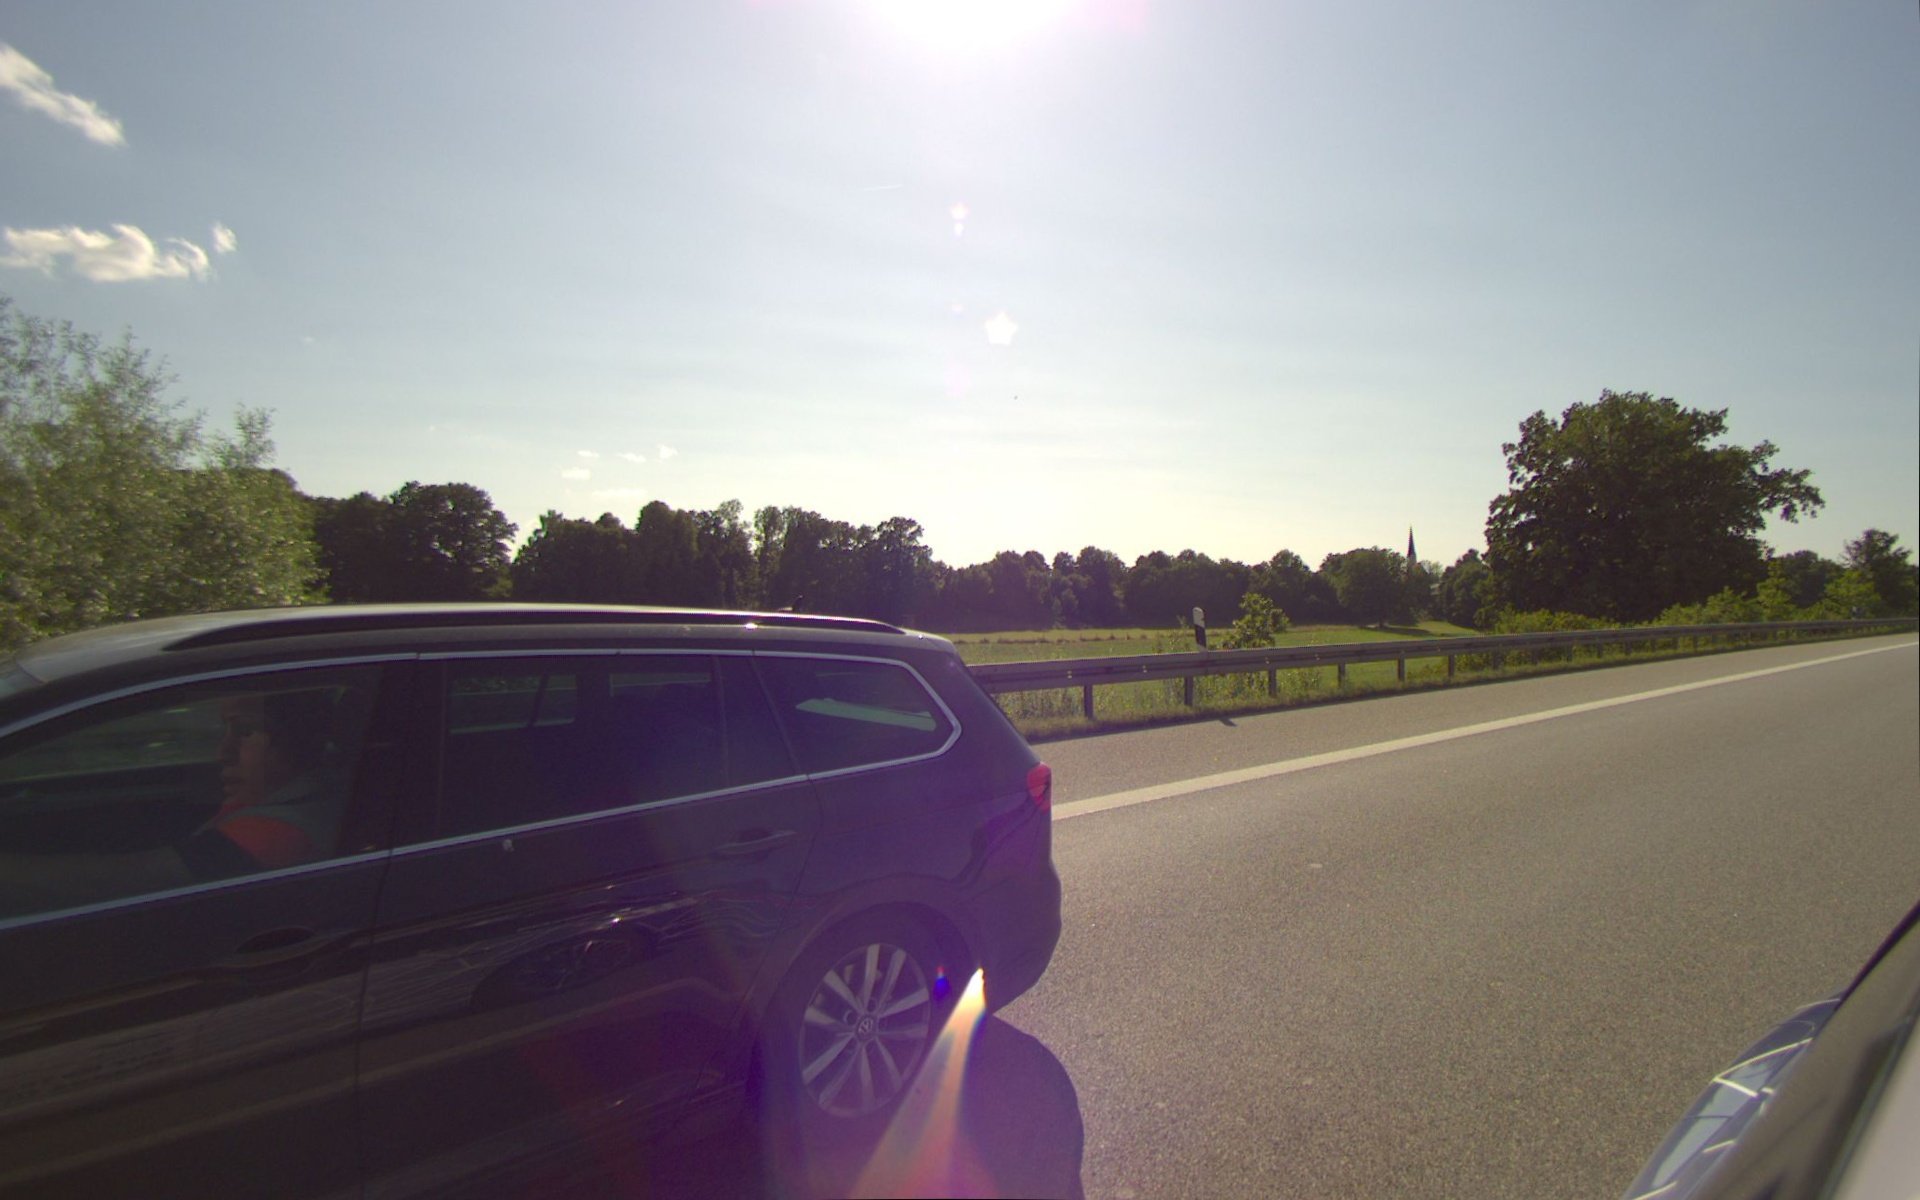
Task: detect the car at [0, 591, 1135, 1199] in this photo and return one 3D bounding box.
[{"bbox_3d":[-1.582,0.700,2.601,4.338,1.417,1.721,-1,1,-42],"label":"car"}]
